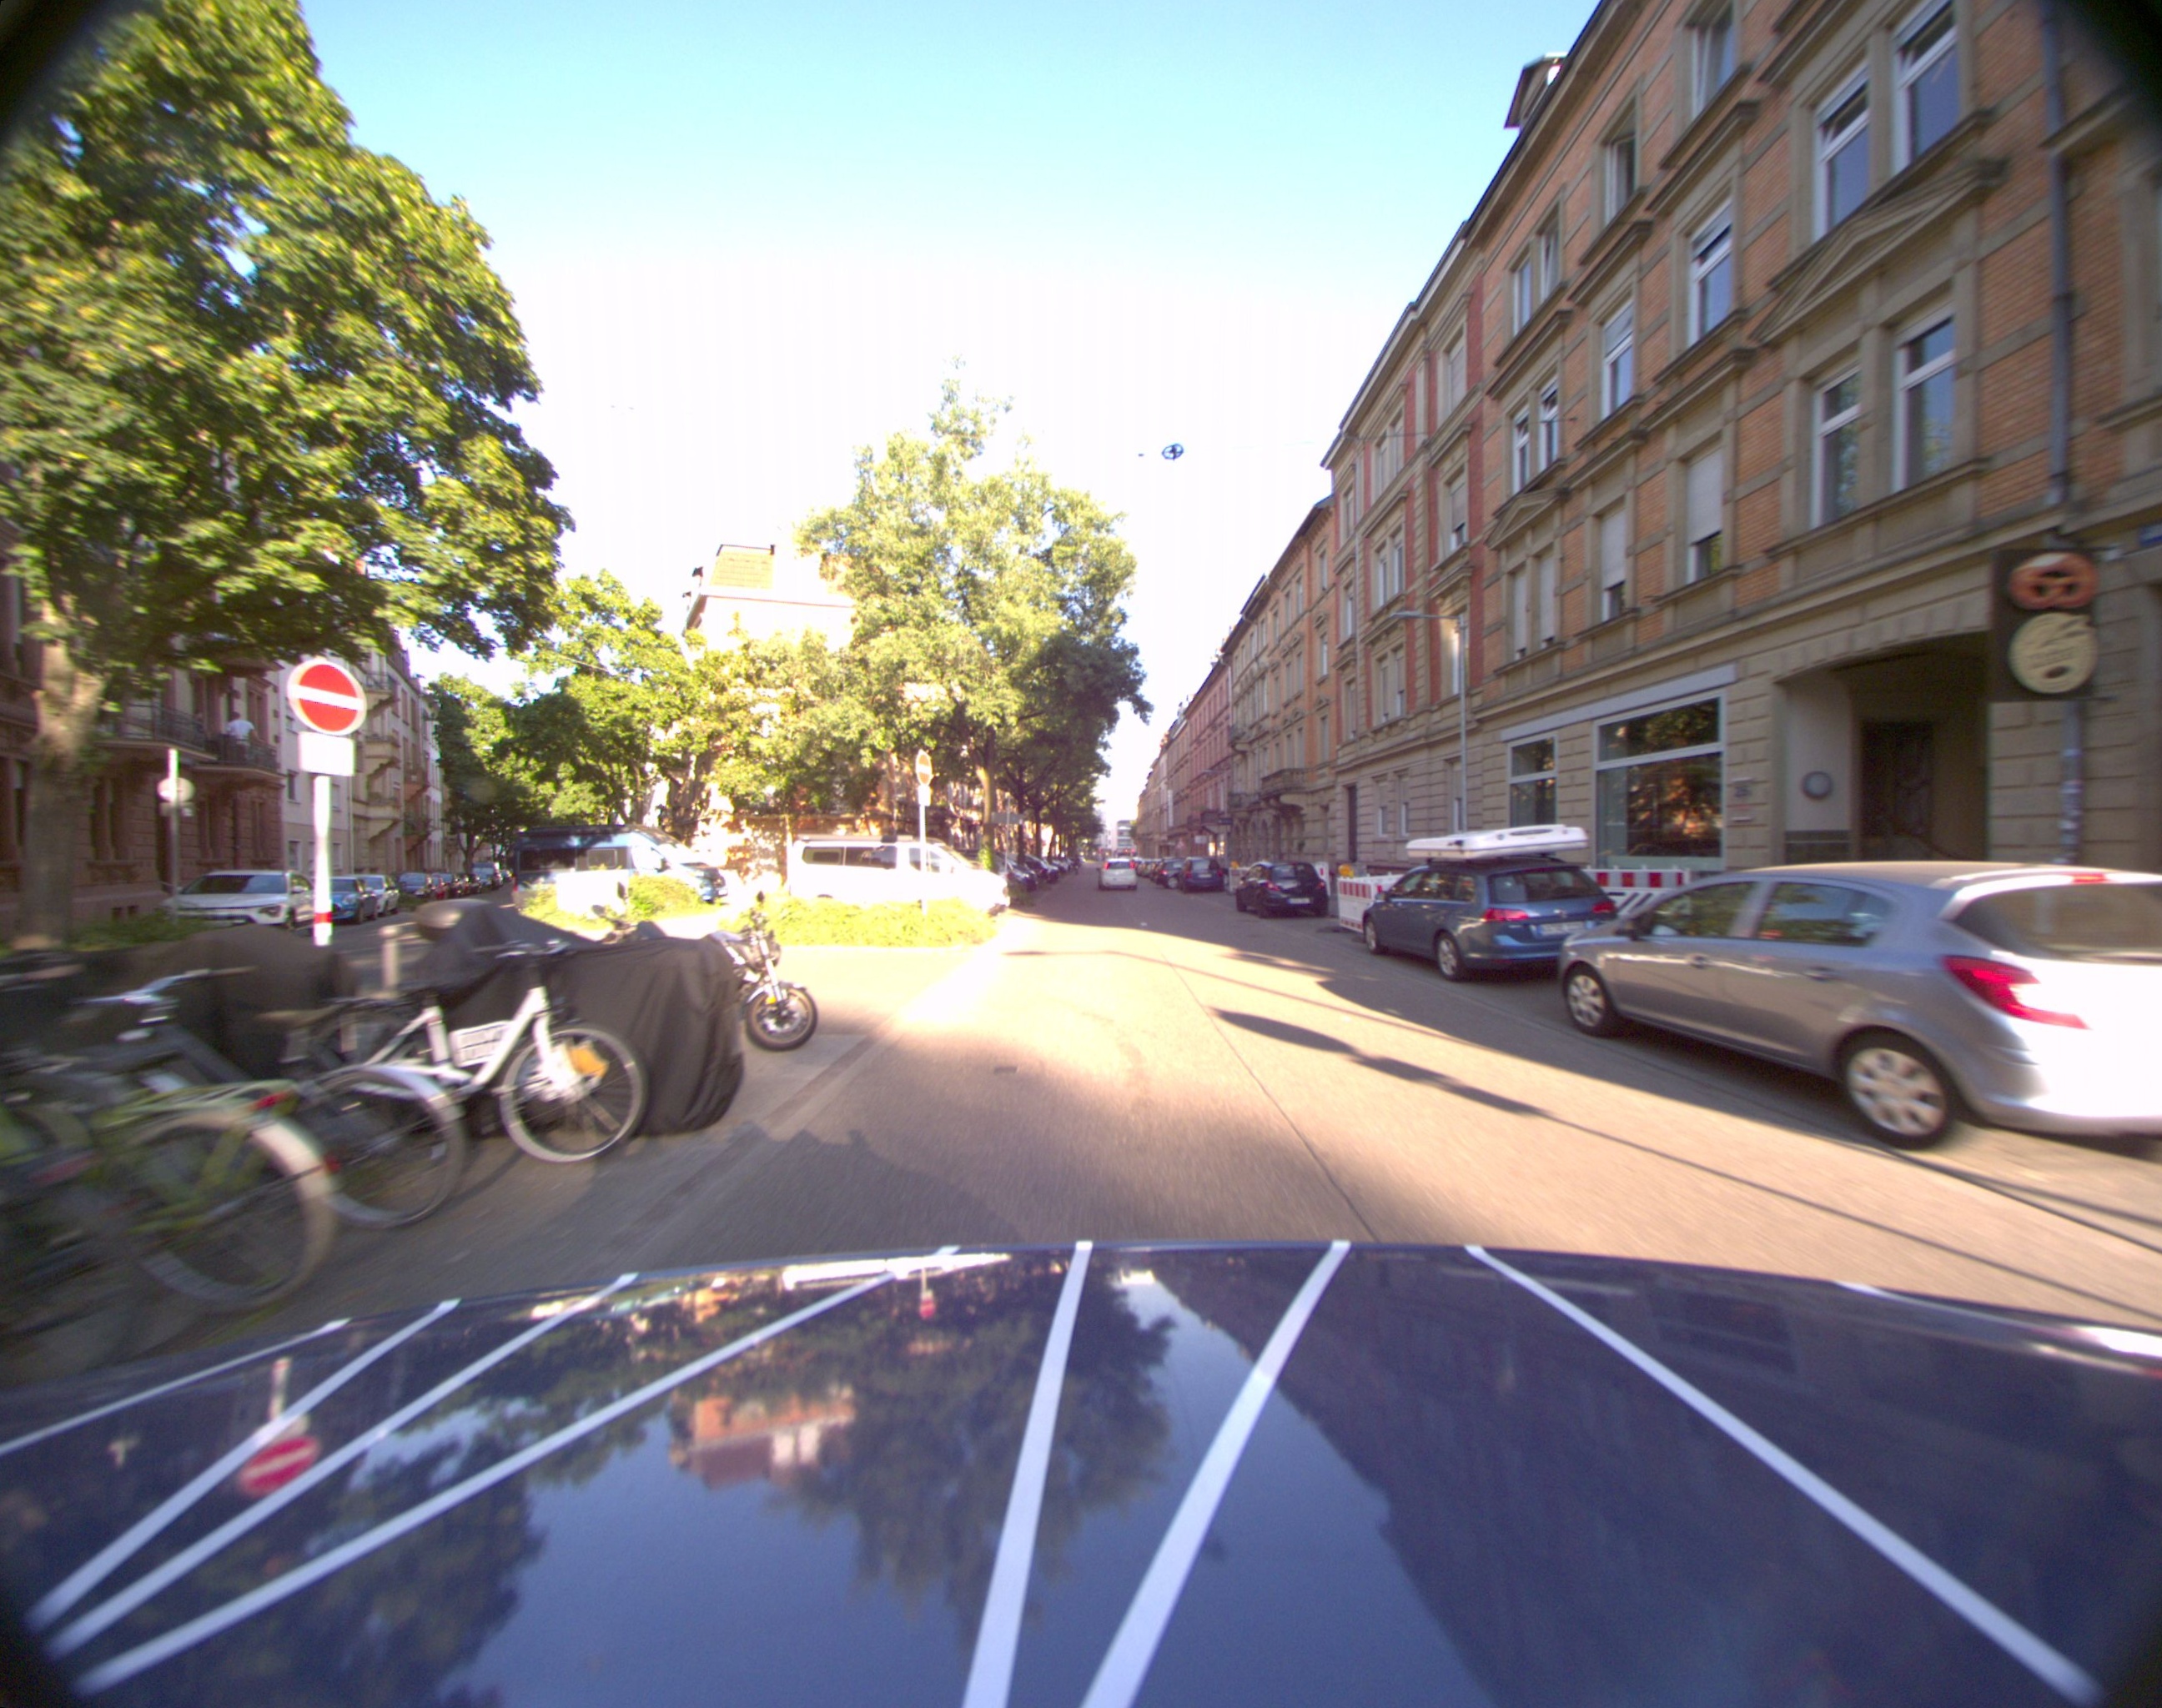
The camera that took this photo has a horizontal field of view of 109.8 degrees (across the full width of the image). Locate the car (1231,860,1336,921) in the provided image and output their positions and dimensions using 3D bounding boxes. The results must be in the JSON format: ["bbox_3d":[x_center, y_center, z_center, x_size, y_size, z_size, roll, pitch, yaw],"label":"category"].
[{"bbox_3d":[5.297,0.896,20.392,1.708,1.446,4.020,-1,0,0],"label":"car"}]

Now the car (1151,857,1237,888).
[{"bbox_3d":[5.651,0.898,38.410,3.999,1.521,1.825,0,0,-5],"label":"car"}]

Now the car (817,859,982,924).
[{"bbox_3d":[-4.645,0.954,19.862,3.850,1.586,1.741,-1,0,1],"label":"car"}]

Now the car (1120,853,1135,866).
[{"bbox_3d":[6.743,0.763,110.976,1.847,1.822,4.606,-1,0,0],"label":"car"}]

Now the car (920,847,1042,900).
[{"bbox_3d":[-3.926,0.755,30.415,4.627,2.002,2.000,0,0,-1],"label":"car"}]

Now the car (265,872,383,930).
[{"bbox_3d":[-22.410,1.321,22.662,1.871,1.466,4.233,-1,0,-36],"label":"car"}]

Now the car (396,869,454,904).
[{"bbox_3d":[-33.015,1.589,38.333,1.871,1.573,4.233,-1,0,-36],"label":"car"}]

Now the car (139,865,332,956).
[{"bbox_3d":[-17.609,1.061,16.073,1.784,1.601,4.207,-1,0,-35],"label":"car"}]

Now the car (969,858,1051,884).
[{"bbox_3d":[-3.919,0.950,42.713,4.380,1.447,1.934,0,0,1],"label":"car"}]

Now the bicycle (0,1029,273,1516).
[{"bbox_3d":[-3.512,1.187,2.158,1.930,1.239,0.303,-1,1,-5],"label":"bicycle"}]

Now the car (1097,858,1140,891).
[{"bbox_3d":[1.756,0.945,37.045,1.754,1.500,3.999,-1,0,-2],"label":"car"}]

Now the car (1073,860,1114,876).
[{"bbox_3d":[1.452,1.589,85.738,4.486,1.647,1.891,-1,2,3],"label":"car"}]

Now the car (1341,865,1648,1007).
[{"bbox_3d":[5.138,0.901,10.237,1.769,1.429,4.300,-1,0,-1],"label":"car"}]

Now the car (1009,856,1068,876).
[{"bbox_3d":[-3.419,0.945,61.534,4.563,1.520,2.000,0,0,2],"label":"car"}]

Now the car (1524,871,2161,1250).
[{"bbox_3d":[5.025,0.911,5.163,1.729,1.429,3.996,-3,0,1],"label":"car"}]

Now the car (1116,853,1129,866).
[{"bbox_3d":[6.982,0.915,128.273,1.947,2.045,4.745,-1,0,1],"label":"car"}]

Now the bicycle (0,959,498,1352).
[{"bbox_3d":[-3.538,1.100,2.964,1.930,1.239,0.648,-1,1,-5],"label":"bicycle"}]

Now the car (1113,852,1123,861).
[{"bbox_3d":[7.248,0.473,149.145,1.868,1.620,3.826,-1,0,3],"label":"car"}]

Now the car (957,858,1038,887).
[{"bbox_3d":[-4.394,0.955,40.404,4.091,1.489,1.843,0,0,1],"label":"car"}]

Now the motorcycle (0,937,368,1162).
[{"bbox_3d":[-5.707,1.105,4.540,2.028,1.102,0.904,1,0,-1],"label":"motorcycle"}]

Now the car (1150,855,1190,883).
[{"bbox_3d":[5.340,0.893,46.178,1.652,1.565,4.048,-3,0,-3],"label":"car"}]

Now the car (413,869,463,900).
[{"bbox_3d":[-36.052,1.653,42.687,1.871,1.573,4.233,-1,0,-36],"label":"car"}]

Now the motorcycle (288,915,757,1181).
[{"bbox_3d":[-3.099,1.051,4.412,2.028,1.277,0.904,1,0,-1],"label":"motorcycle"}]

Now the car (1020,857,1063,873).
[{"bbox_3d":[-3.633,1.005,70.292,3.998,1.454,1.782,0,0,-2],"label":"car"}]

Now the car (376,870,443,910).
[{"bbox_3d":[-30.266,1.568,34.355,1.871,1.573,4.233,-1,0,-36],"label":"car"}]

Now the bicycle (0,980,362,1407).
[{"bbox_3d":[-3.521,1.084,2.464,1.930,1.239,0.303,-1,1,-5],"label":"bicycle"}]

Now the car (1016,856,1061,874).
[{"bbox_3d":[-3.775,0.968,67.697,3.998,1.581,1.782,0,0,-2],"label":"car"}]

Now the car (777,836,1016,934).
[{"bbox_3d":[-4.106,0.670,17.570,4.986,2.084,2.106,-1,0,1],"label":"car"}]

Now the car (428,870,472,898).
[{"bbox_3d":[-39.990,1.853,48.240,1.871,1.573,4.233,-1,0,-36],"label":"car"}]

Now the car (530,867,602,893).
[{"bbox_3d":[-38.274,1.910,56.554,4.001,1.710,1.780,-2,1,-11],"label":"car"}]

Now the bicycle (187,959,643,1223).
[{"bbox_3d":[-3.199,1.125,3.727,1.822,1.121,0.443,1,1,0],"label":"bicycle"}]

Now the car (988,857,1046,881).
[{"bbox_3d":[-4.407,1.017,52.778,3.894,1.639,1.724,0,0,-1],"label":"car"}]

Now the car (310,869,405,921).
[{"bbox_3d":[-25.042,1.352,26.452,1.871,1.573,4.233,-1,0,-36],"label":"car"}]

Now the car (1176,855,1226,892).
[{"bbox_3d":[5.412,0.845,34.748,1.745,1.558,3.895,0,0,1],"label":"car"}]

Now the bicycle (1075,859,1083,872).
[{"bbox_3d":[-0.212,1.066,72.250,0.712,1.252,1.888,0,0,1],"label":"bicycle"}]

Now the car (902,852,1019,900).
[{"bbox_3d":[-4.365,0.796,27.902,3.997,1.682,1.800,0,0,-1],"label":"car"}]

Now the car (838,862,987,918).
[{"bbox_3d":[-4.766,1.000,21.926,3.850,1.507,1.848,-1,0,1],"label":"car"}]

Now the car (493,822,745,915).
[{"bbox_3d":[-13.512,0.389,22.632,5.912,2.522,2.379,-1,0,-5],"label":"car"}]

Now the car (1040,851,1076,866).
[{"bbox_3d":[-3.174,0.612,105.545,4.933,1.890,2.175,2,0,-2],"label":"car"}]

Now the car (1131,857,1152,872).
[{"bbox_3d":[6.133,1.017,77.444,1.825,1.417,4.314,-2,0,1],"label":"car"}]

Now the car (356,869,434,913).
[{"bbox_3d":[-27.252,1.412,30.324,1.871,1.573,4.233,-1,0,-36],"label":"car"}]

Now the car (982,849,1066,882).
[{"bbox_3d":[-3.565,0.710,48.079,5.104,1.929,2.157,-1,4,1],"label":"car"}]

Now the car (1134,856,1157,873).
[{"bbox_3d":[5.966,0.974,70.898,1.825,1.468,4.423,-2,0,1],"label":"car"}]

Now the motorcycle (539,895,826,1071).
[{"bbox_3d":[-3.246,1.029,6.321,2.020,1.319,0.621,-1,0,-3],"label":"motorcycle"}]

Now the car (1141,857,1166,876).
[{"bbox_3d":[5.860,0.978,61.343,1.709,1.430,3.959,0,0,1],"label":"car"}]

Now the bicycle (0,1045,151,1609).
[{"bbox_3d":[-3.494,1.154,1.828,1.930,1.239,0.303,-1,1,-5],"label":"bicycle"}]

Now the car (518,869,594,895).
[{"bbox_3d":[-37.538,1.989,54.417,4.001,1.710,1.780,-2,1,-11],"label":"car"}]

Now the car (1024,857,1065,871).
[{"bbox_3d":[-3.824,1.038,80.057,4.110,1.461,1.801,-1,0,2],"label":"car"}]

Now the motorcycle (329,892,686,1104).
[{"bbox_3d":[-4.005,0.976,5.405,2.028,1.354,0.694,1,1,1],"label":"motorcycle"}]

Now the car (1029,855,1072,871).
[{"bbox_3d":[-3.287,0.931,82.732,4.487,1.647,1.891,-1,2,0],"label":"car"}]

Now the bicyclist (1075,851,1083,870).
[{"bbox_3d":[-0.195,0.615,72.296,0.712,1.865,1.120,0,0,1],"label":"bicyclist"}]

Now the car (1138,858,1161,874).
[{"bbox_3d":[5.897,1.048,66.023,1.709,1.315,4.101,0,0,1],"label":"car"}]

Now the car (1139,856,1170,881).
[{"bbox_3d":[4.901,0.948,51.037,1.651,1.464,4.000,-3,0,1],"label":"car"}]
